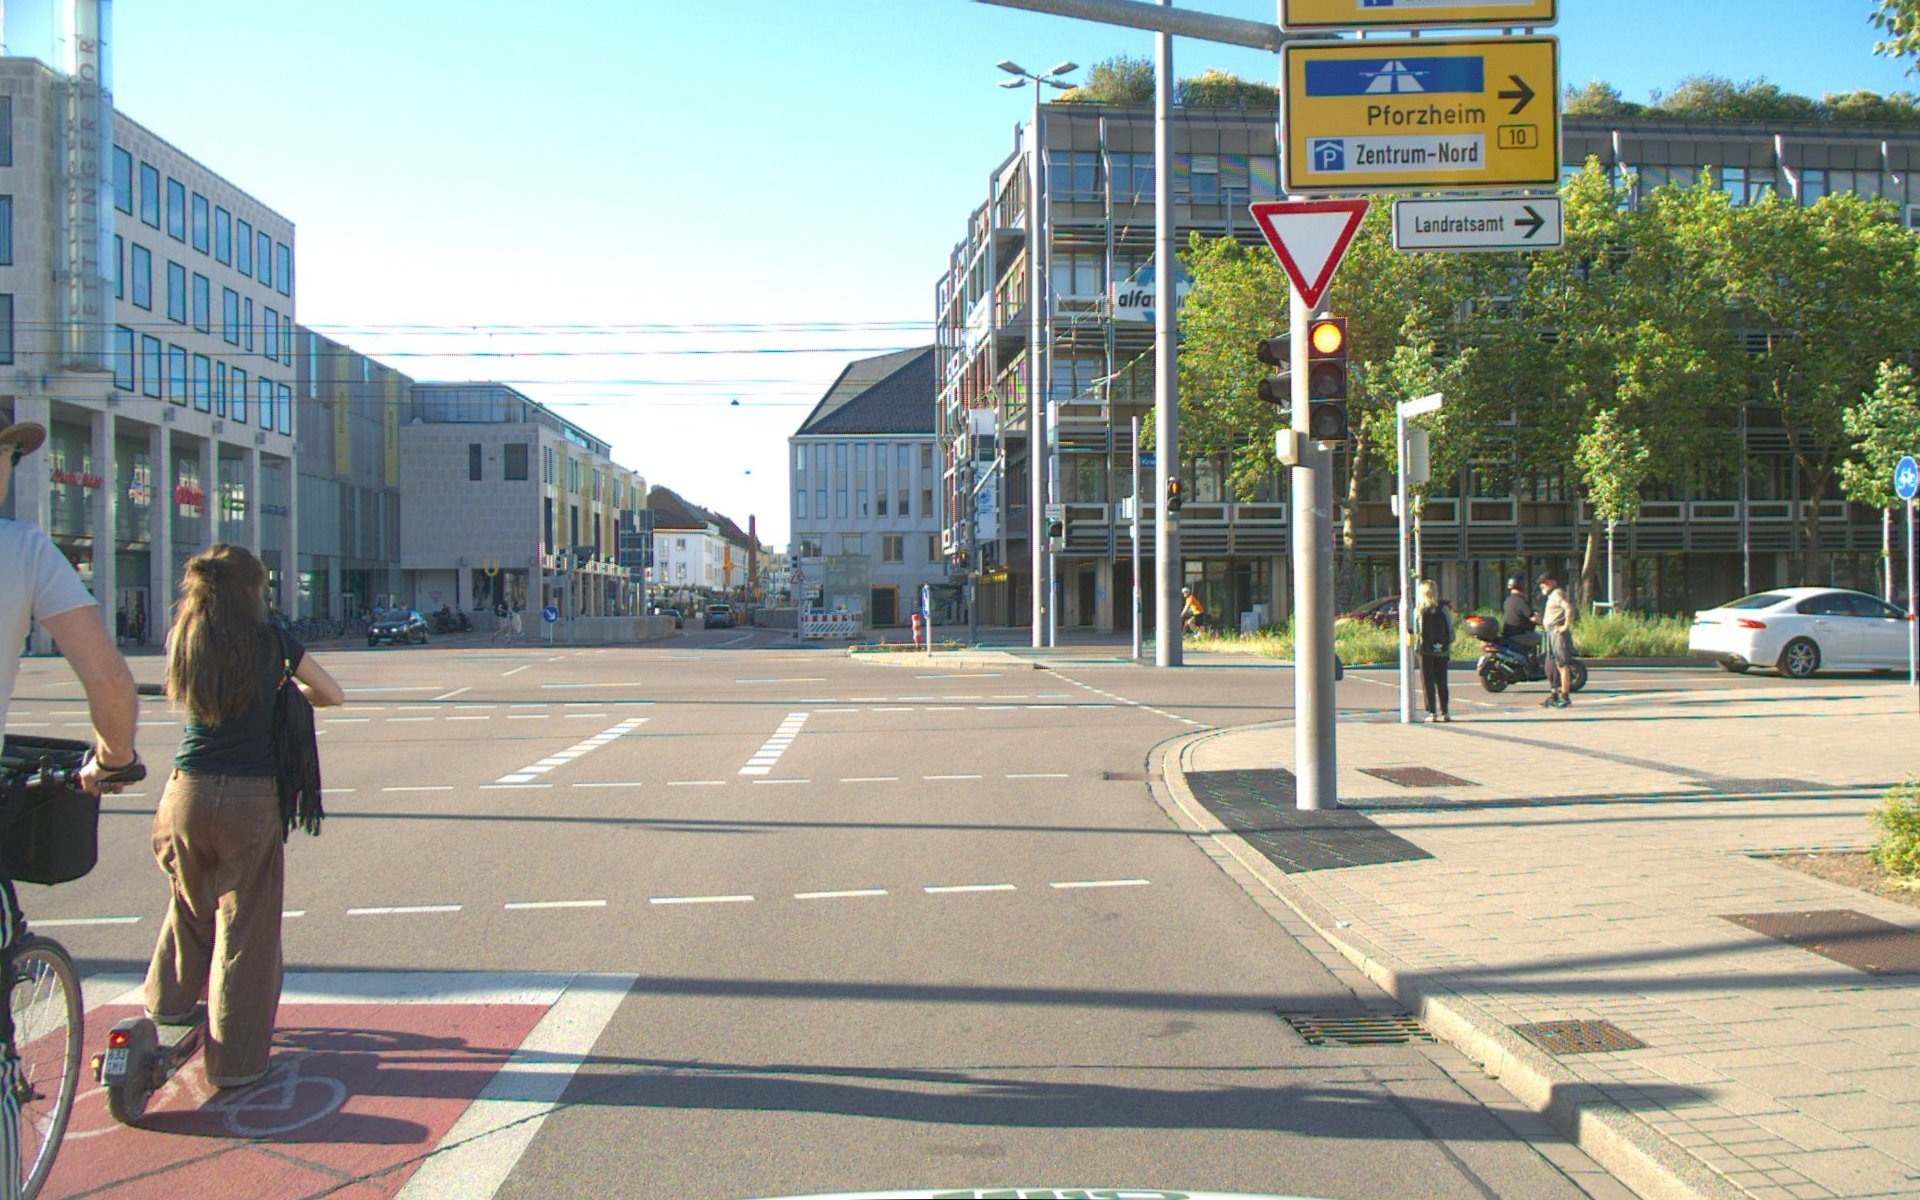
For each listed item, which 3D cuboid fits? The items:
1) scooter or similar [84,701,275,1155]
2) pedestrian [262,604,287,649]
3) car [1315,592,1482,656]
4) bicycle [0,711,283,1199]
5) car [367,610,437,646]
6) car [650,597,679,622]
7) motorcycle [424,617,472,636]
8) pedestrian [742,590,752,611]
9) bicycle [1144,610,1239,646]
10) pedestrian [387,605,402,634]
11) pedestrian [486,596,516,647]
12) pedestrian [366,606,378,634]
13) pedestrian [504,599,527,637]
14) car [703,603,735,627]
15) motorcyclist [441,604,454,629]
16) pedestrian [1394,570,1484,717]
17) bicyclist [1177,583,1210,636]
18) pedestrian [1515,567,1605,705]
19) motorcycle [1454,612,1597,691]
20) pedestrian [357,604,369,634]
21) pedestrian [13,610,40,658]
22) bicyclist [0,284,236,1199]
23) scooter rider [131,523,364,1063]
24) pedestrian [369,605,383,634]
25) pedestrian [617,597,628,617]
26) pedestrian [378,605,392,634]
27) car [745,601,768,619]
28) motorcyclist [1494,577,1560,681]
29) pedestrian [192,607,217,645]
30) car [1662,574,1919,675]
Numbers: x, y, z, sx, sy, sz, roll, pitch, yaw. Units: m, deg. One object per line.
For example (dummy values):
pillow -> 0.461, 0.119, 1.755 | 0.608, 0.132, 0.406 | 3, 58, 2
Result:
scooter or similar -> -2.223, 0.885, 4.763 | 0.301, 1.127, 0.836 | -1, 0, -12
pedestrian -> -26.282, 1.023, 63.404 | 0.685, 1.718, 0.619 | -1, 0, 0
car -> 12.331, 0.648, 46.592 | 4.212, 1.713, 1.820 | -1, 0, -11
bicycle -> -2.026, 0.865, 3.137 | 0.724, 1.167, 1.890 | 0, 0, -1
car -> -23.387, 1.153, 69.447 | 1.642, 1.381, 4.019 | -1, 0, -2
car -> -20.484, 0.644, 114.743 | 1.785, 1.713, 3.994 | -1, 0, -7
motorcycle -> -30.074, 1.553, 97.135 | 2.555, 1.010, 1.113 | 1, 0, -10
pedestrian -> -21.153, 0.051, 164.361 | 0.892, 1.999, 0.822 | 1, -1, -1
bicycle -> 6.590, 0.795, 47.206 | 2.517, 0.992, 1.047 | -1, 0, -4
pedestrian -> -34.151, 1.182, 99.946 | 0.462, 1.759, 0.692 | 0, -1, 37
pedestrian -> -17.449, 0.817, 62.877 | 0.923, 1.897, 0.539 | -1, 0, 16
pedestrian -> -36.159, 1.229, 101.687 | 0.462, 1.759, 0.518 | 0, -1, 38
pedestrian -> -21.192, 0.857, 78.868 | 0.881, 1.814, 0.808 | 0, 0, -1
car -> -15.701, 0.963, 107.822 | 1.625, 1.484, 3.541 | -1, 0, -1
motorcyclist -> -30.136, 0.985, 97.310 | 0.616, 1.430, 0.661 | 1, -1, -9
pedestrian -> 5.504, 0.491, 19.055 | 0.750, 1.642, 0.874 | -1, 0, -2
bicyclist -> 6.667, 0.278, 47.221 | 0.806, 1.500, 0.652 | -1, 0, -5
pedestrian -> 7.689, 0.449, 21.226 | 0.854, 1.736, 0.768 | -1, 0, -3
motorcycle -> 8.335, 0.748, 24.416 | 1.918, 1.120, 0.648 | -1, 0, -9
pedestrian -> -36.159, 1.149, 100.164 | 0.462, 1.759, 0.518 | 0, -1, 38
pedestrian -> -32.911, 1.195, 58.318 | 0.580, 1.674, 0.629 | -1, 0, -1
bicyclist -> -2.001, 0.329, 3.236 | 0.789, 1.730, 0.851 | 0, 0, -1
scooter rider -> -2.153, 0.554, 5.039 | 0.542, 1.556, 0.448 | -1, 0, -9
pedestrian -> -34.961, 1.164, 99.017 | 0.462, 1.759, 0.626 | 1, -1, 33
pedestrian -> -28.378, 0.571, 138.945 | 0.668, 1.626, 0.839 | -1, 0, 9
pedestrian -> -35.274, 1.168, 101.435 | 0.461, 1.759, 0.627 | 1, -1, 28
car -> -17.903, 0.852, 145.438 | 1.625, 1.484, 3.541 | -1, 0, -1
motorcyclist -> 8.373, 0.422, 24.437 | 0.735, 1.505, 0.598 | 0, 0, -9
pedestrian -> -32.701, 1.121, 71.631 | 0.760, 1.667, 0.626 | -1, 0, 9
car -> 14.777, 0.379, 28.121 | 4.992, 1.592, 1.995 | -1, 0, -11
